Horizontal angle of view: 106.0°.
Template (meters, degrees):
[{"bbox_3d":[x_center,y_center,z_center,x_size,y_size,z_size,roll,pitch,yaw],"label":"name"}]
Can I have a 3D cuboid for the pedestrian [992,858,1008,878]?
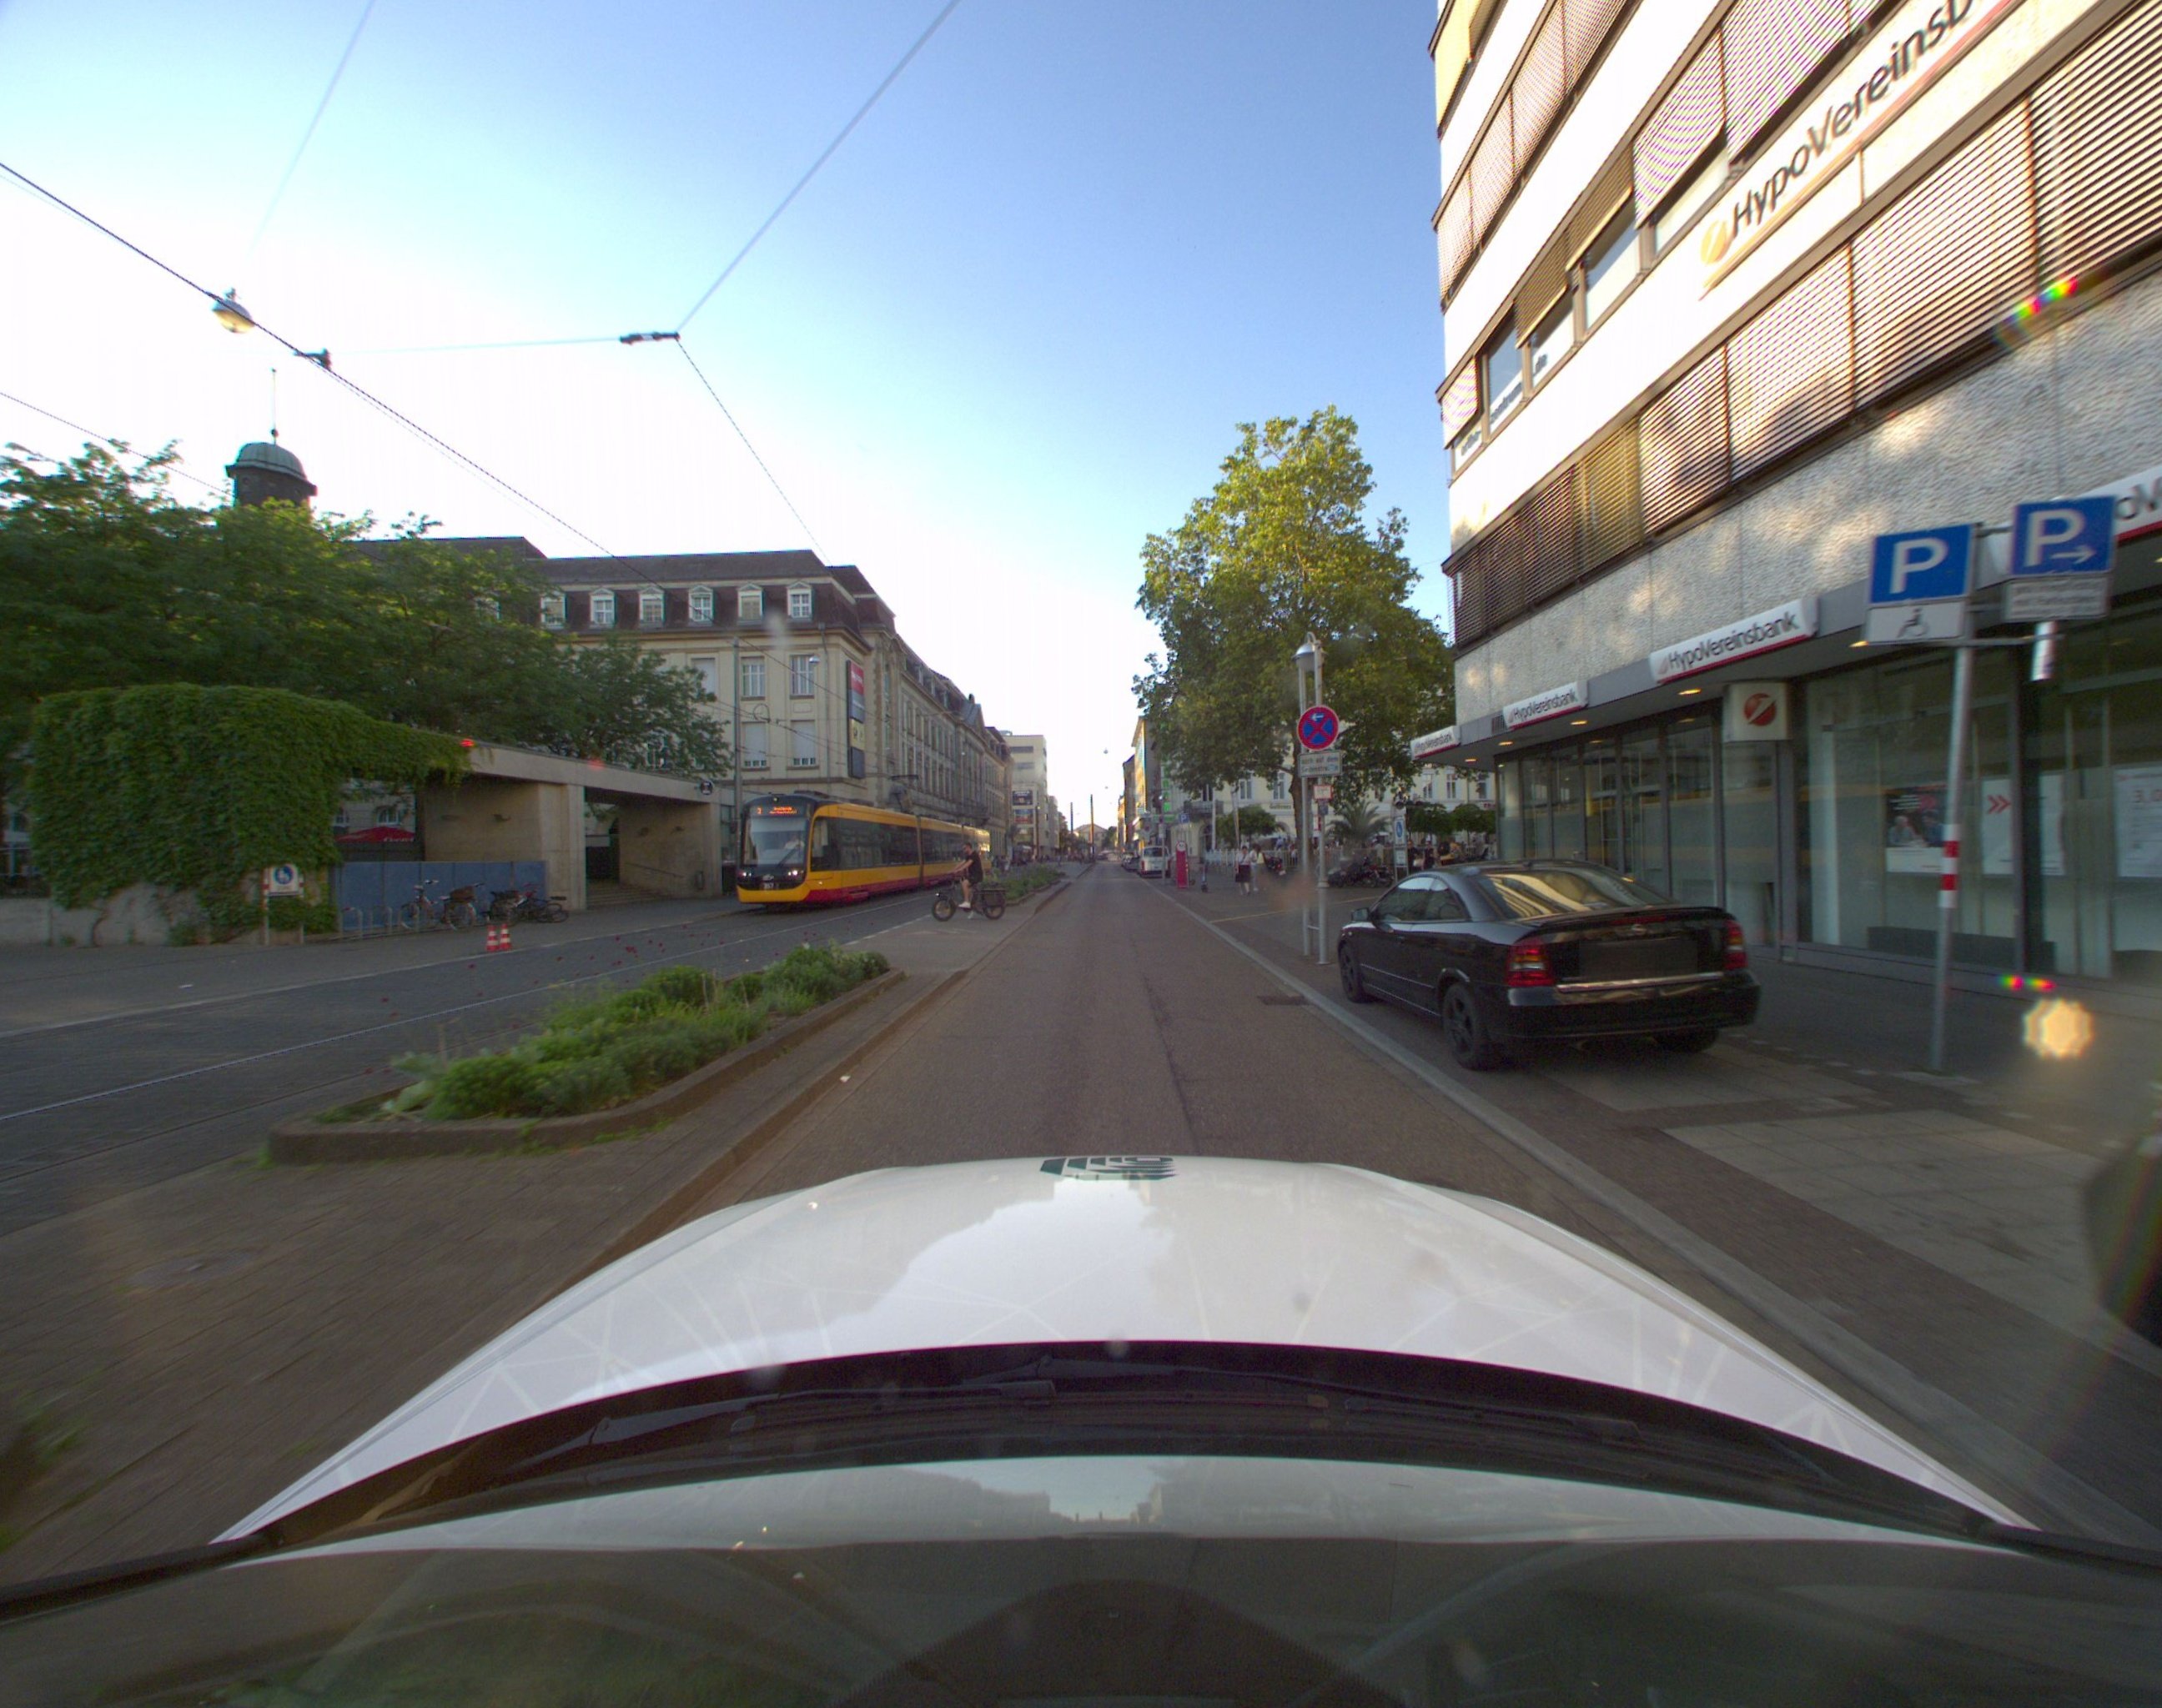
[{"bbox_3d":[-6.283,1.067,63.249,0.750,1.514,0.868,-4,-3,45],"label":"pedestrian"}]

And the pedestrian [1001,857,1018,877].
[{"bbox_3d":[-5.497,1.034,62.751,0.710,1.514,1.043,-4,-3,44],"label":"pedestrian"}]

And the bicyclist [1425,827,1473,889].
[{"bbox_3d":[10.883,0.113,24.080,0.937,1.776,0.959,-1,0,-43],"label":"bicyclist"}]

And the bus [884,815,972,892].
[{"bbox_3d":[-7.931,-0.004,43.389,2.812,3.625,8.292,-2,0,2],"label":"bus"}]

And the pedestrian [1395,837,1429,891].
[{"bbox_3d":[10.966,0.340,26.976,0.827,1.741,0.651,0,-3,-37],"label":"pedestrian"}]

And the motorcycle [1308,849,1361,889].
[{"bbox_3d":[9.723,0.547,31.315,0.567,1.423,2.278,-1,1,-24],"label":"motorcycle"}]

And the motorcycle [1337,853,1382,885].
[{"bbox_3d":[10.754,0.555,31.497,0.553,1.150,1.783,-1,1,-24],"label":"motorcycle"}]

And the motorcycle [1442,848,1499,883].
[{"bbox_3d":[14.831,0.436,31.065,0.565,1.282,1.936,0,-1,-35],"label":"motorcycle"}]

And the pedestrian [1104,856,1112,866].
[{"bbox_3d":[5.528,1.489,166.845,1.231,1.928,1.017,-1,-1,-15],"label":"pedestrian"}]

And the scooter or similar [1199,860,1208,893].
[{"bbox_3d":[4.687,0.855,31.075,0.313,1.221,1.275,-1,0,9],"label":"scooter or similar"}]

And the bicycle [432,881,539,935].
[{"bbox_3d":[-14.719,1.318,20.157,2.233,1.255,0.580,-2,-2,1],"label":"bicycle"}]

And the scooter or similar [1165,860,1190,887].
[{"bbox_3d":[4.605,0.918,38.777,1.120,1.216,0.300,-3,-1,2],"label":"scooter or similar"}]

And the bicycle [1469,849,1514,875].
[{"bbox_3d":[20.879,0.395,41.422,0.444,1.291,2.095,-2,1,-34],"label":"bicycle"}]

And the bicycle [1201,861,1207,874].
[{"bbox_3d":[8.693,0.965,57.651,0.249,0.902,1.374,-2,-2,2],"label":"bicycle"}]

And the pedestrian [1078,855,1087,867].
[{"bbox_3d":[0.225,0.973,115.542,1.041,1.686,0.911,-2,-2,13],"label":"pedestrian"}]

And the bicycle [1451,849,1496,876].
[{"bbox_3d":[19.630,0.413,40.775,0.444,1.291,2.095,-3,2,-34],"label":"bicycle"}]

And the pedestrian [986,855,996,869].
[{"bbox_3d":[-11.189,0.996,101.278,1.051,1.686,0.903,-1,-1,-18],"label":"pedestrian"}]

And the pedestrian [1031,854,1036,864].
[{"bbox_3d":[-9.435,0.920,161.963,0.907,1.928,0.846,-1,0,-15],"label":"pedestrian"}]

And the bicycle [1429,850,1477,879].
[{"bbox_3d":[17.257,0.487,37.842,0.444,1.291,2.095,-2,1,-34],"label":"bicycle"}]

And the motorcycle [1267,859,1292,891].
[{"bbox_3d":[7.396,0.790,30.465,0.453,1.158,2.031,-2,-2,2],"label":"motorcycle"}]

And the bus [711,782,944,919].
[{"bbox_3d":[-8.331,-0.062,30.688,2.811,3.651,17.079,-2,0,2],"label":"bus"}]

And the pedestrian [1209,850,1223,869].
[{"bbox_3d":[9.278,0.391,56.023,0.820,1.306,0.870,-2,-2,1],"label":"pedestrian"}]

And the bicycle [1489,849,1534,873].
[{"bbox_3d":[23.401,0.372,44.261,2.089,1.291,0.445,-1,0,36],"label":"bicycle"}]

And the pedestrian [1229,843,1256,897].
[{"bbox_3d":[5.637,0.551,28.427,0.711,1.803,0.825,-4,-1,4],"label":"pedestrian"}]

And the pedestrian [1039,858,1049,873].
[{"bbox_3d":[-4.209,1.294,91.919,1.048,1.686,0.905,-1,-3,-8],"label":"pedestrian"}]

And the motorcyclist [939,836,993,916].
[{"bbox_3d":[-2.720,0.517,19.178,1.007,1.813,0.951,-1,-2,-25],"label":"motorcyclist"}]

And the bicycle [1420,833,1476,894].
[{"bbox_3d":[10.877,0.265,24.096,2.381,1.740,0.596,-1,0,-43],"label":"bicycle"}]

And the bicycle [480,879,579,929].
[{"bbox_3d":[-14.768,1.334,21.829,2.233,1.232,0.585,-2,-1,1],"label":"bicycle"}]

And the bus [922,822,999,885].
[{"bbox_3d":[-7.619,0.086,53.385,2.811,3.612,11.826,-2,-1,2],"label":"bus"}]

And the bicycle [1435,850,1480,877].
[{"bbox_3d":[18.623,0.449,40.328,0.444,1.291,2.095,-3,2,-34],"label":"bicycle"}]

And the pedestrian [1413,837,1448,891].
[{"bbox_3d":[11.323,0.322,26.360,0.827,1.724,0.651,0,-3,-37],"label":"pedestrian"}]

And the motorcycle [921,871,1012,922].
[{"bbox_3d":[-2.687,0.982,19.173,2.054,1.123,0.563,-1,-2,-26],"label":"motorcycle"}]

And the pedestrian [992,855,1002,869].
[{"bbox_3d":[-10.605,0.979,103.254,1.051,1.686,0.903,-1,0,-18],"label":"pedestrian"}]

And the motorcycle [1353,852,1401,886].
[{"bbox_3d":[11.524,0.559,31.745,0.563,1.282,1.942,-1,0,-24],"label":"motorcycle"}]

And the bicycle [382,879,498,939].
[{"bbox_3d":[-14.641,1.243,18.630,2.189,1.300,0.580,-2,-2,1],"label":"bicycle"}]
